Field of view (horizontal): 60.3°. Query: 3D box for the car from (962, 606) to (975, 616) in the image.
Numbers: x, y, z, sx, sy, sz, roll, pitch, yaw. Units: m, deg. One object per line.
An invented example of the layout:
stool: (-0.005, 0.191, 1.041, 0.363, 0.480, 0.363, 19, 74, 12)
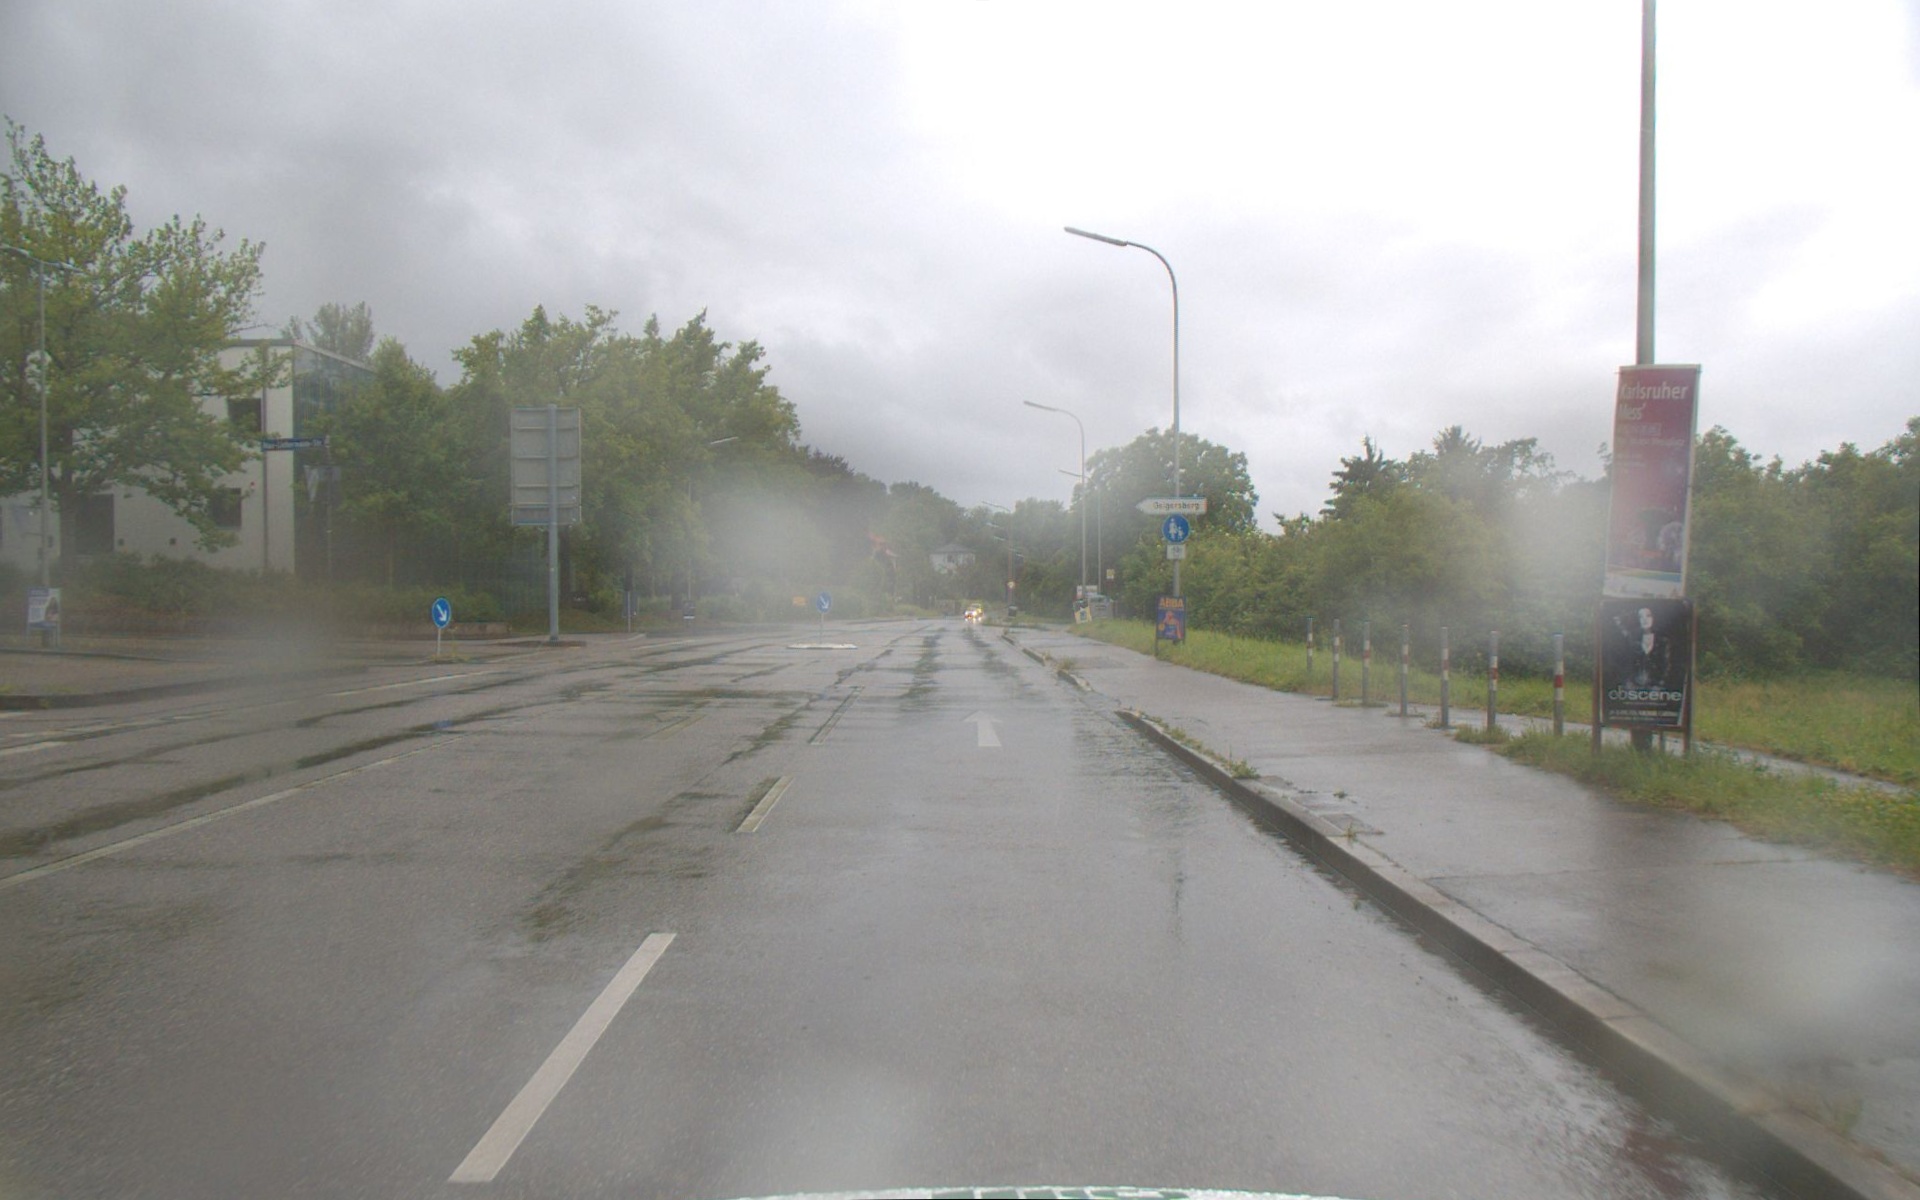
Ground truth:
car: (1.196, 1.533, 224.787, 1.666, 1.373, 3.906, 0, 0, 1)
